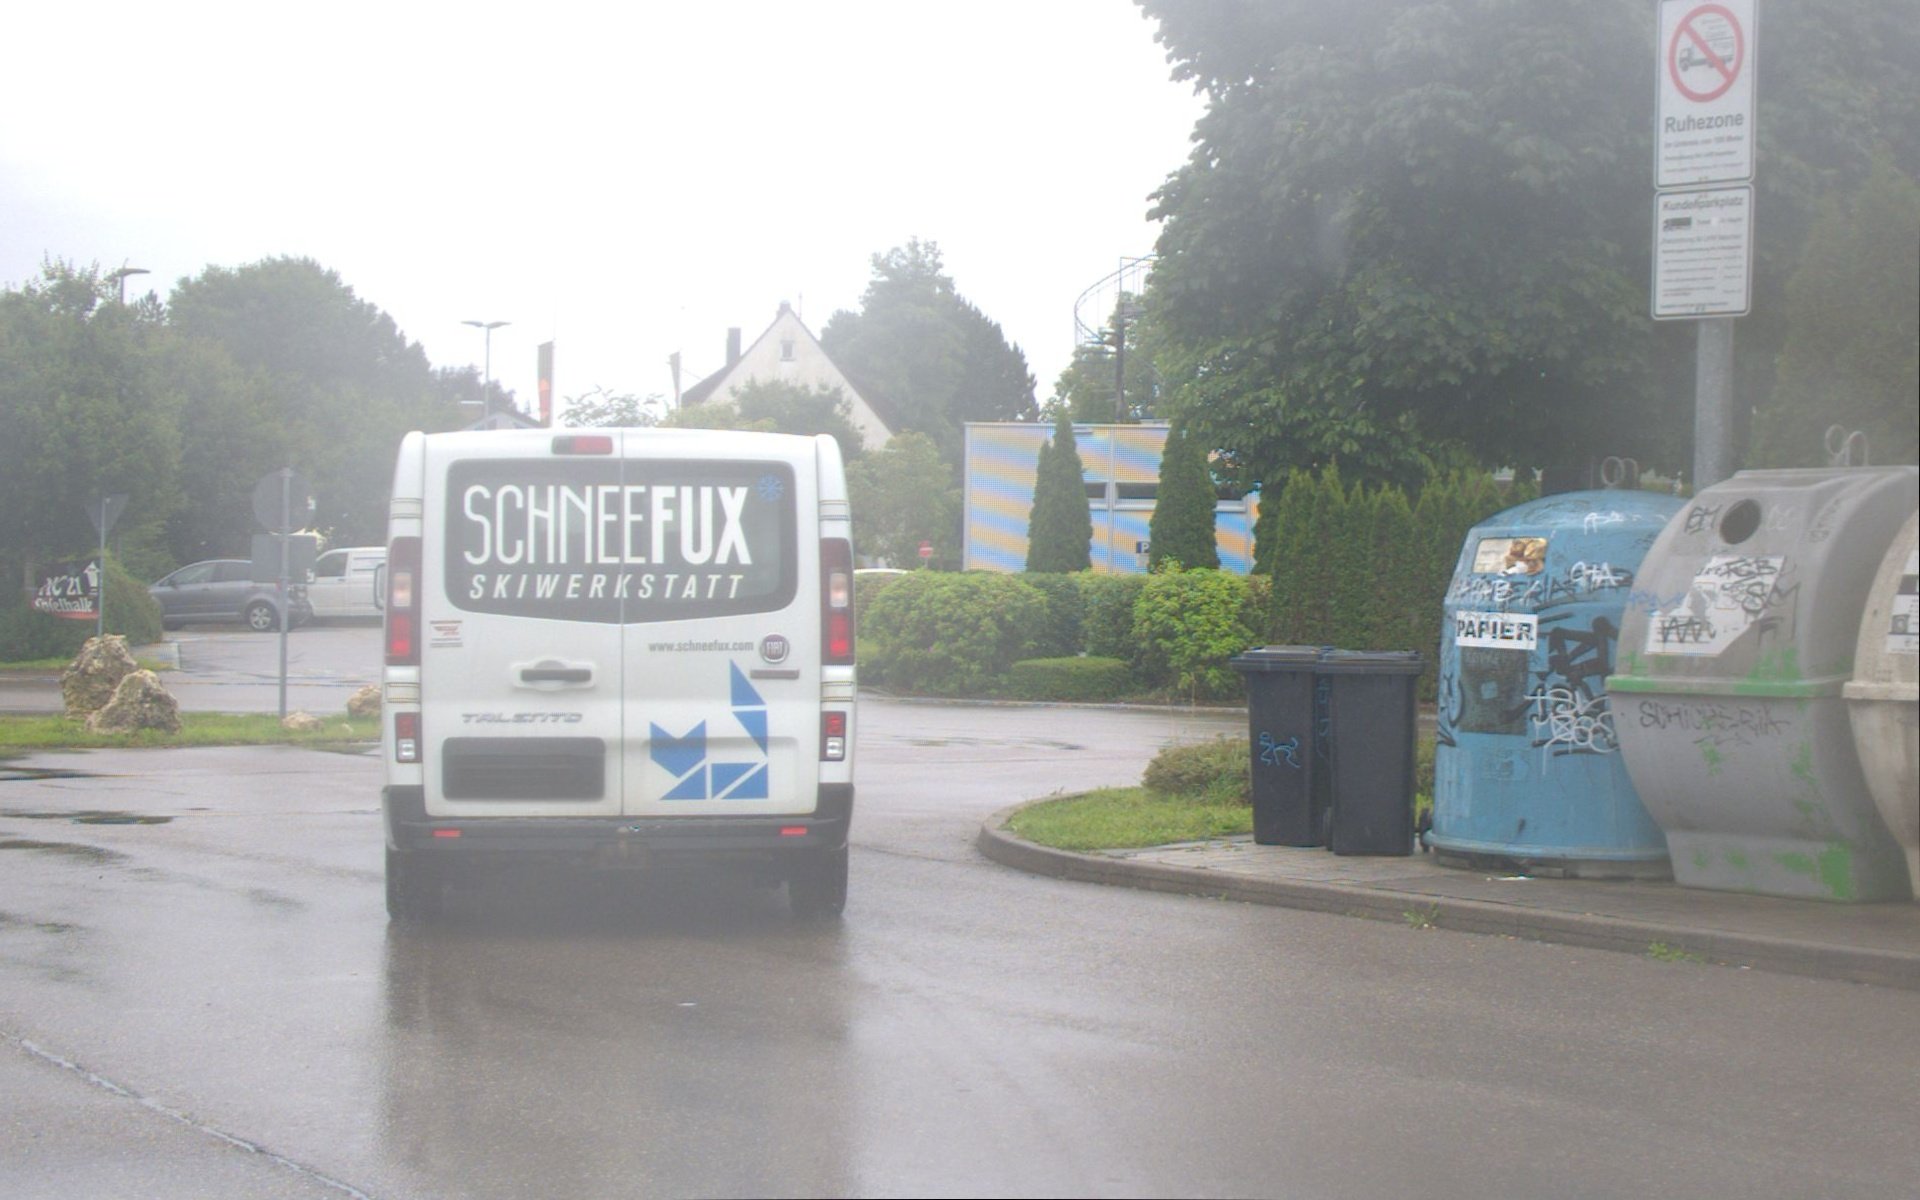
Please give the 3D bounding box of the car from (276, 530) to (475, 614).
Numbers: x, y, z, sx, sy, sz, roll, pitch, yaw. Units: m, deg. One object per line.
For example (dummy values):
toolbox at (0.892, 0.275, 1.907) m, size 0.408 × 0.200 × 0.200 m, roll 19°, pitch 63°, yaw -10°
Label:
car at (-14.310, -0.706, 84.236) m, size 4.522 × 2.026 × 1.644 m, roll 0°, pitch 1°, yaw 8°

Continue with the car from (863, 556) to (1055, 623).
car at (-0.001, -0.239, 77.914) m, size 4.176 × 1.492 × 1.717 m, roll 0°, pitch 1°, yaw 7°

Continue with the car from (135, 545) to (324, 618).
car at (-15.819, -0.407, 74.477) m, size 3.733 × 1.545 × 1.450 m, roll 0°, pitch 1°, yaw 8°

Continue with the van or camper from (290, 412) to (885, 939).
van or camper at (-1.573, 0.262, 15.316) m, size 2.187 × 1.938 × 5.198 m, roll 0°, pitch 0°, yaw -4°

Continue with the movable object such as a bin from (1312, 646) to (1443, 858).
movable object such as a bin at (1.859, 0.670, 15.343) m, size 0.448 × 0.914 × 0.489 m, roll 0°, pitch 1°, yaw -11°

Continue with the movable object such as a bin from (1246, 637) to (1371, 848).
movable object such as a bin at (1.601, 0.648, 15.836) m, size 0.448 × 0.935 × 0.489 m, roll 0°, pitch 1°, yaw -11°
